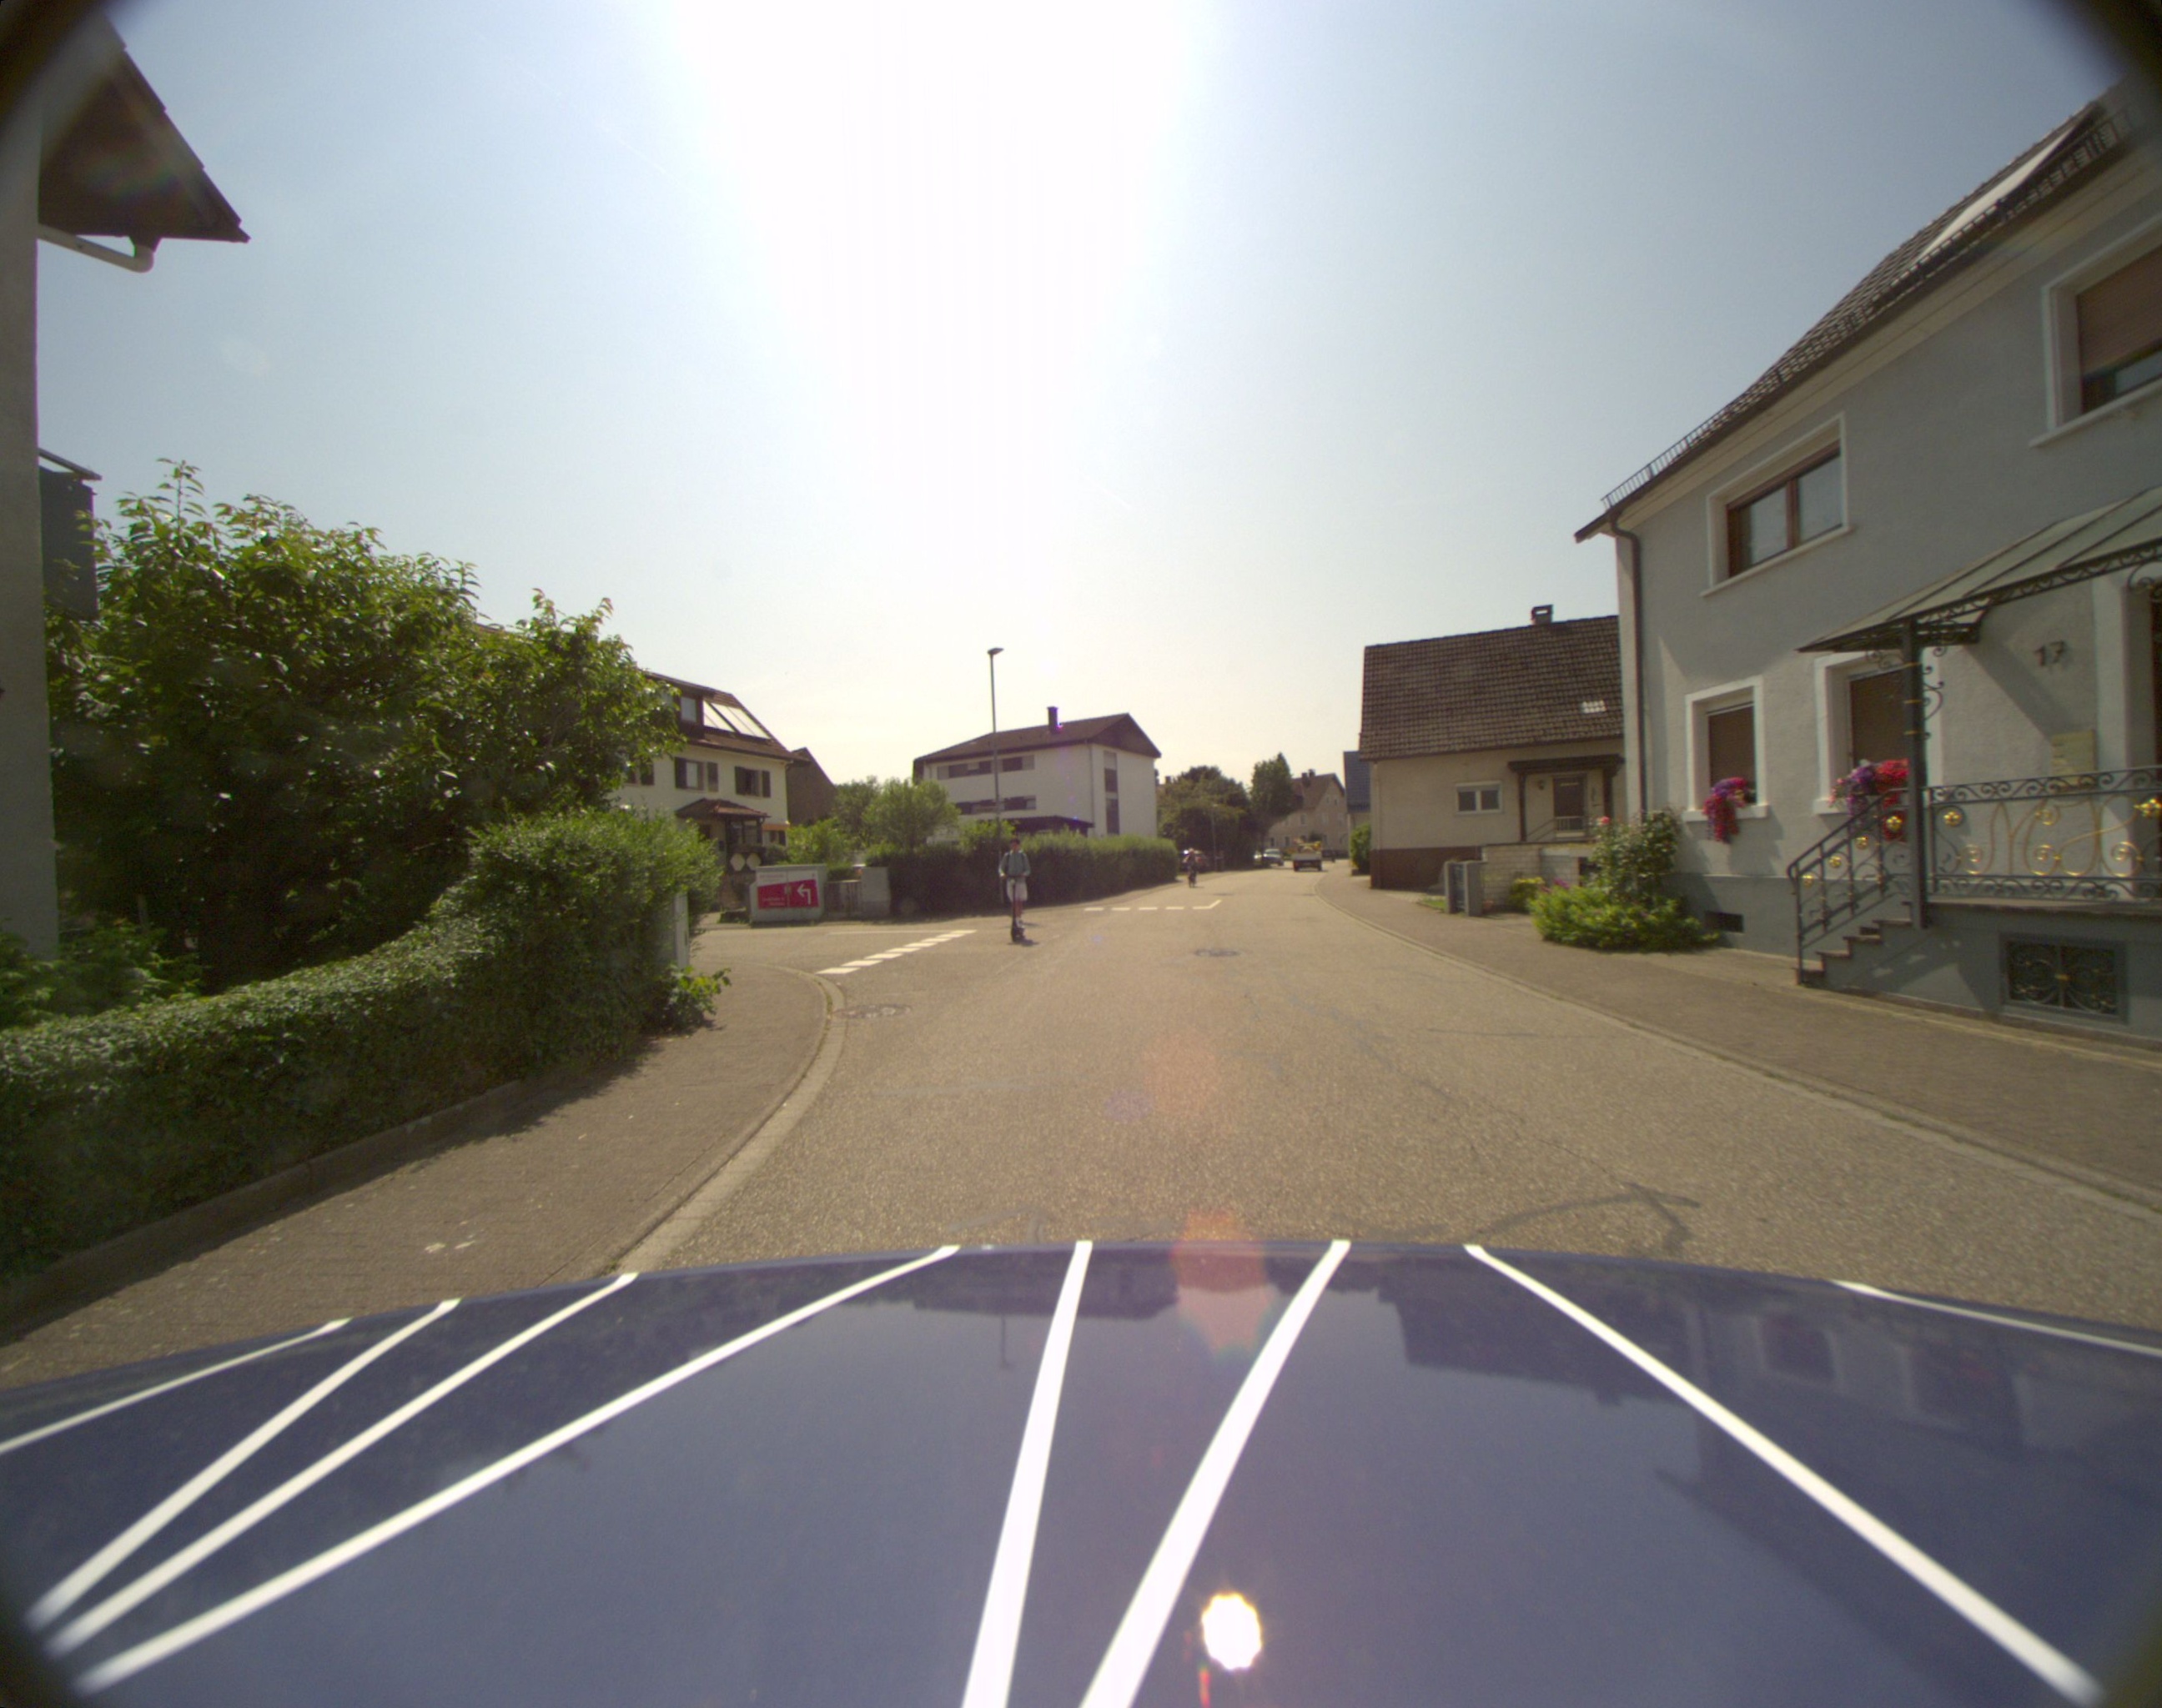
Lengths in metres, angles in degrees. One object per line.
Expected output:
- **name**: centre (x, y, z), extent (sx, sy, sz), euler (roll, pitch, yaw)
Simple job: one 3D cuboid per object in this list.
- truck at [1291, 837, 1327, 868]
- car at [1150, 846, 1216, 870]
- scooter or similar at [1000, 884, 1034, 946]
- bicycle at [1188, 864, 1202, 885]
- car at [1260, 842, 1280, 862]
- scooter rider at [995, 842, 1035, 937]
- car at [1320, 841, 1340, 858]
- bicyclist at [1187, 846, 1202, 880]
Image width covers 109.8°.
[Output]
- **truck**: centre (16.709, -0.163, 55.550), extent (2.264, 2.122, 6.773), euler (-2, 1, 19)
- **car**: centre (7.402, 0.293, 55.101), extent (4.282, 1.662, 2.069), euler (-1, 1, 23)
- **scooter or similar**: centre (-1.217, 1.136, 14.321), extent (0.543, 1.083, 0.690), euler (-2, 1, -10)
- **bicycle**: centre (5.045, 0.899, 33.576), extent (0.521, 0.899, 1.313), euler (-2, 1, 5)
- **car**: centre (18.498, -0.229, 74.265), extent (1.779, 1.830, 3.905), euler (-1, 1, 15)
- **scooter rider**: centre (-1.245, 0.654, 14.311), extent (0.617, 1.714, 0.639), euler (-2, 1, -10)
- **car**: centre (28.894, -0.563, 88.010), extent (1.995, 1.929, 4.006), euler (-1, 1, 21)
- **bicyclist**: centre (5.044, 0.395, 33.763), extent (0.547, 1.481, 0.797), euler (-2, 1, 5)
